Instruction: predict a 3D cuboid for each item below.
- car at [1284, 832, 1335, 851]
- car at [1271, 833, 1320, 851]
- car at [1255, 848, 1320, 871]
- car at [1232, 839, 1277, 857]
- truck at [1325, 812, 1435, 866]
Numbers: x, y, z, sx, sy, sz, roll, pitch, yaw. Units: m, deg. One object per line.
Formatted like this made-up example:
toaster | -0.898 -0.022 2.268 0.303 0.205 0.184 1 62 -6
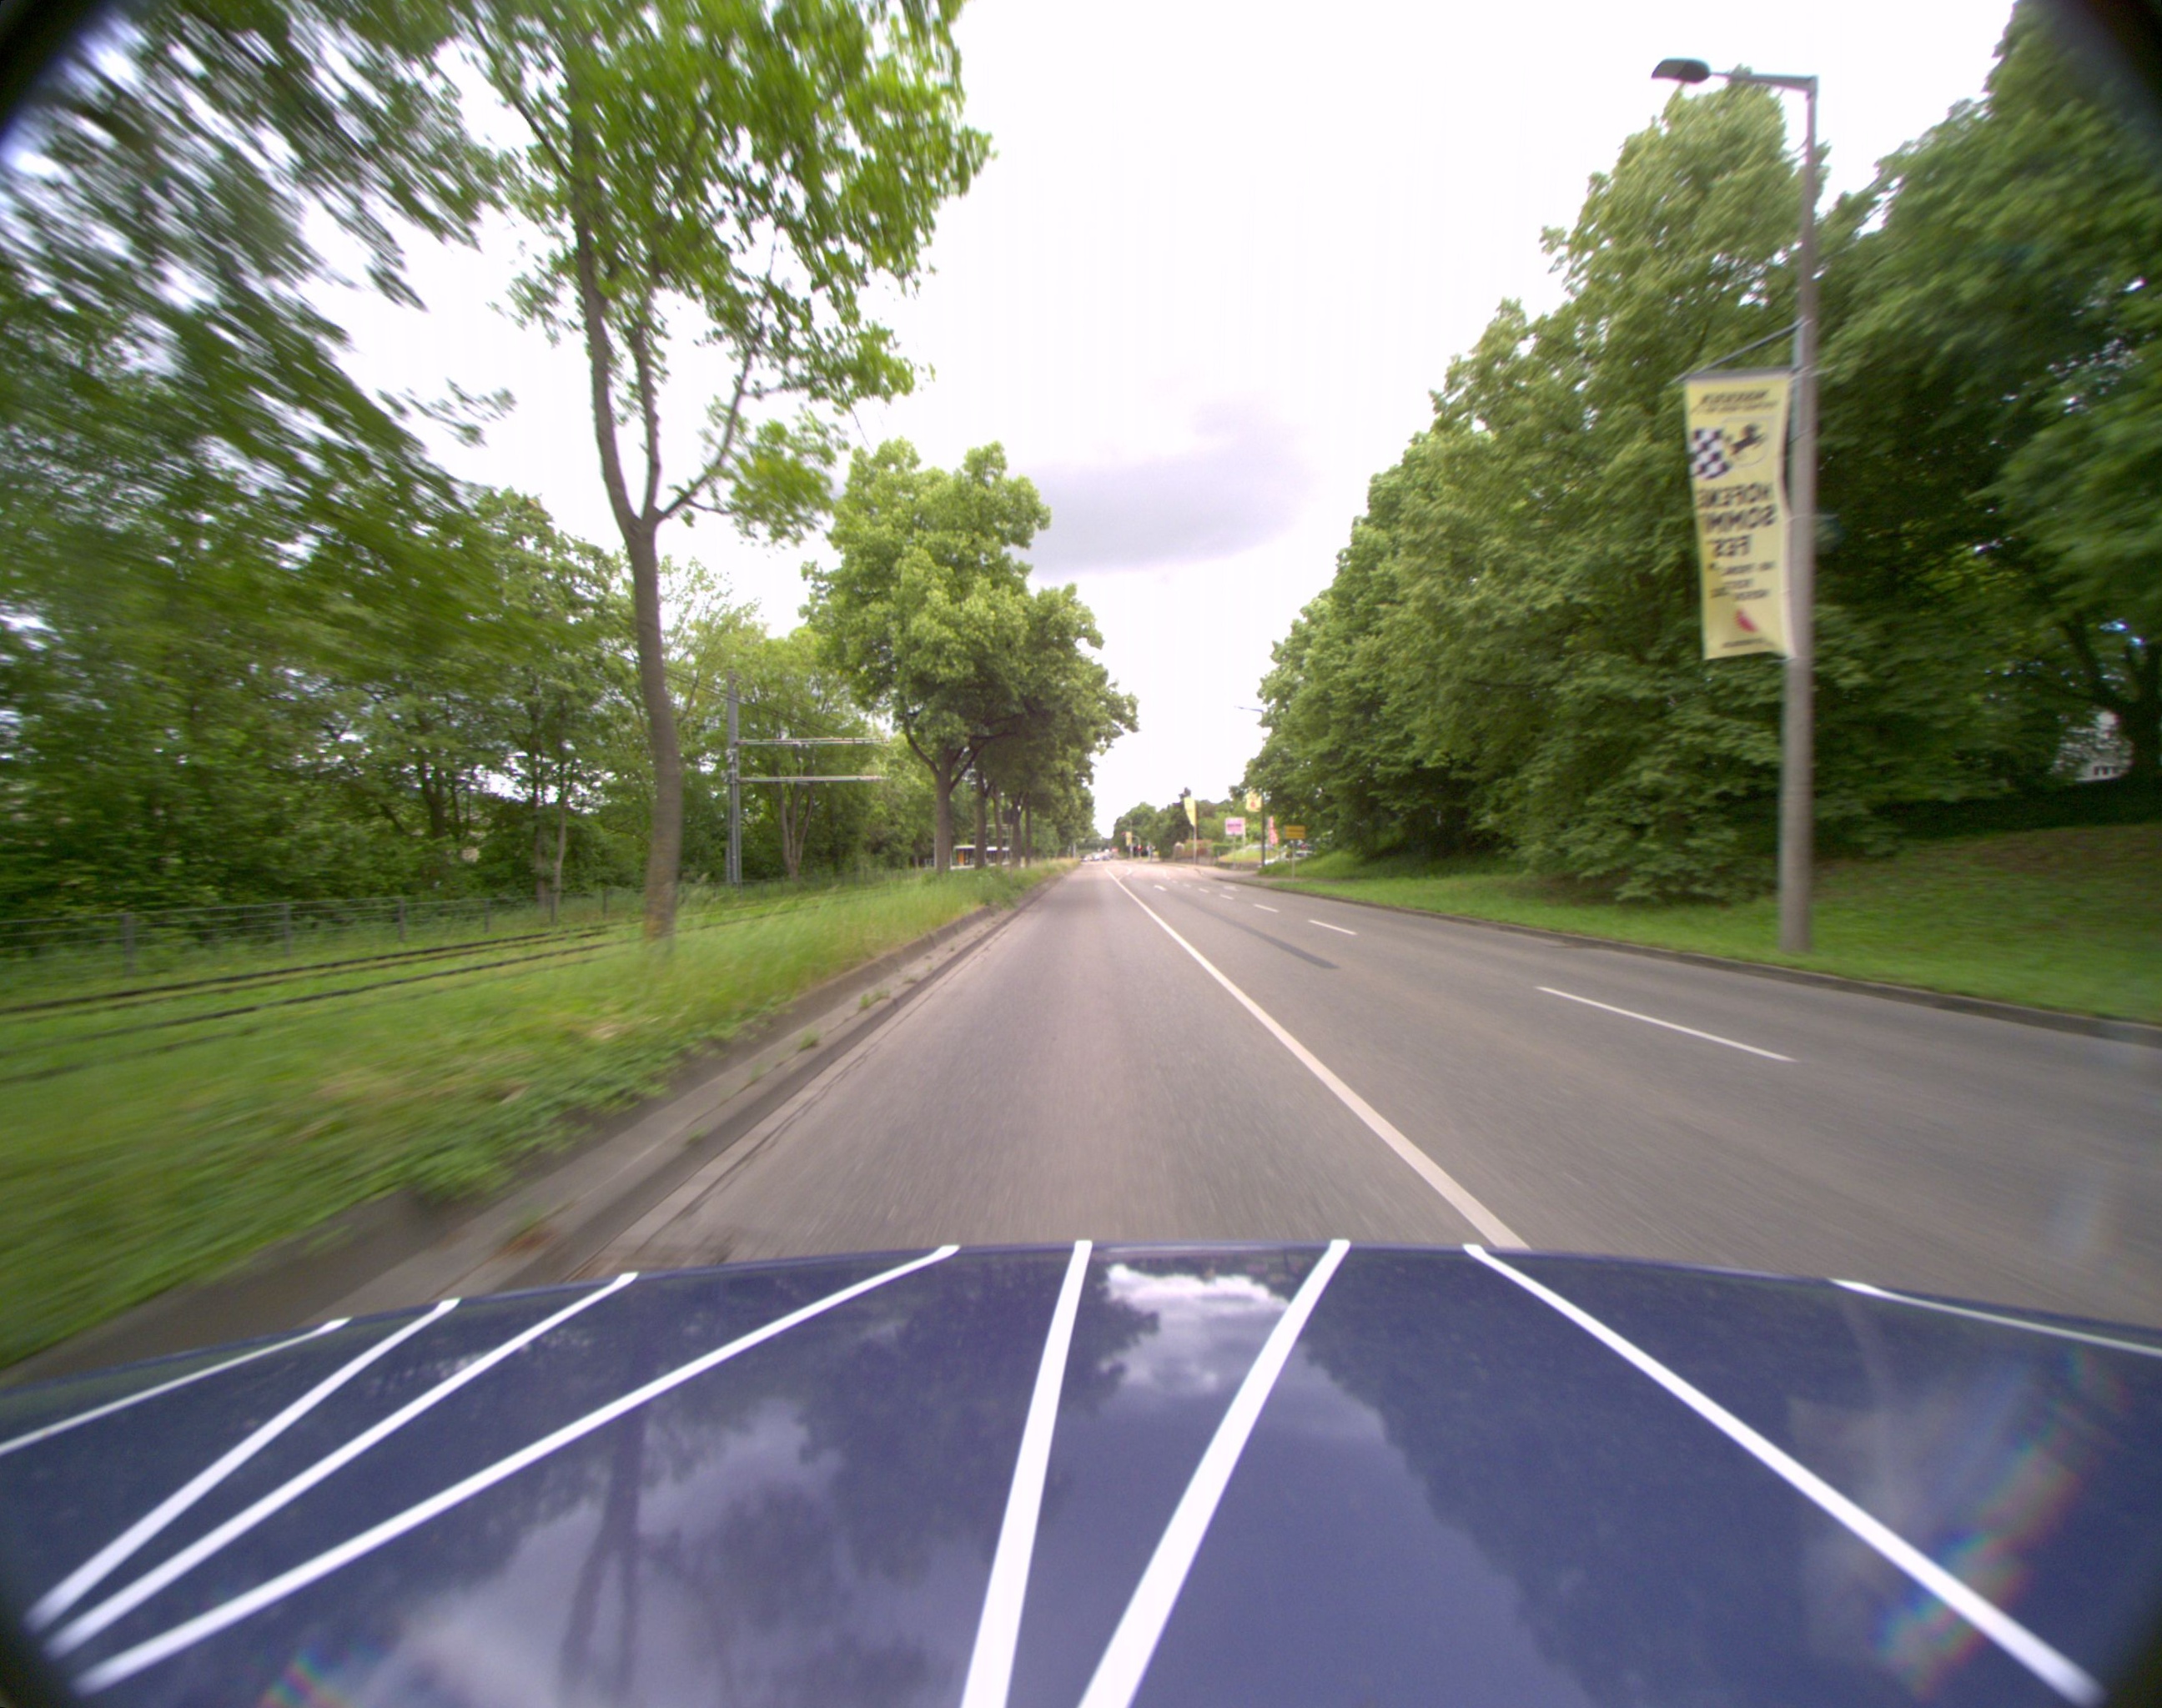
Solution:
car | 20.347 -1.102 67.675 3.997 1.499 1.734 -2 1 1
car | 19.749 -1.099 69.955 3.997 1.499 1.734 -2 1 1
car | 15.127 0.418 55.887 4.220 1.483 1.749 -2 -1 -3
car | 16.570 -0.572 72.659 3.905 1.608 1.879 -2 1 1
truck | 21.931 -1.103 56.000 6.923 3.609 2.658 -2 1 1
